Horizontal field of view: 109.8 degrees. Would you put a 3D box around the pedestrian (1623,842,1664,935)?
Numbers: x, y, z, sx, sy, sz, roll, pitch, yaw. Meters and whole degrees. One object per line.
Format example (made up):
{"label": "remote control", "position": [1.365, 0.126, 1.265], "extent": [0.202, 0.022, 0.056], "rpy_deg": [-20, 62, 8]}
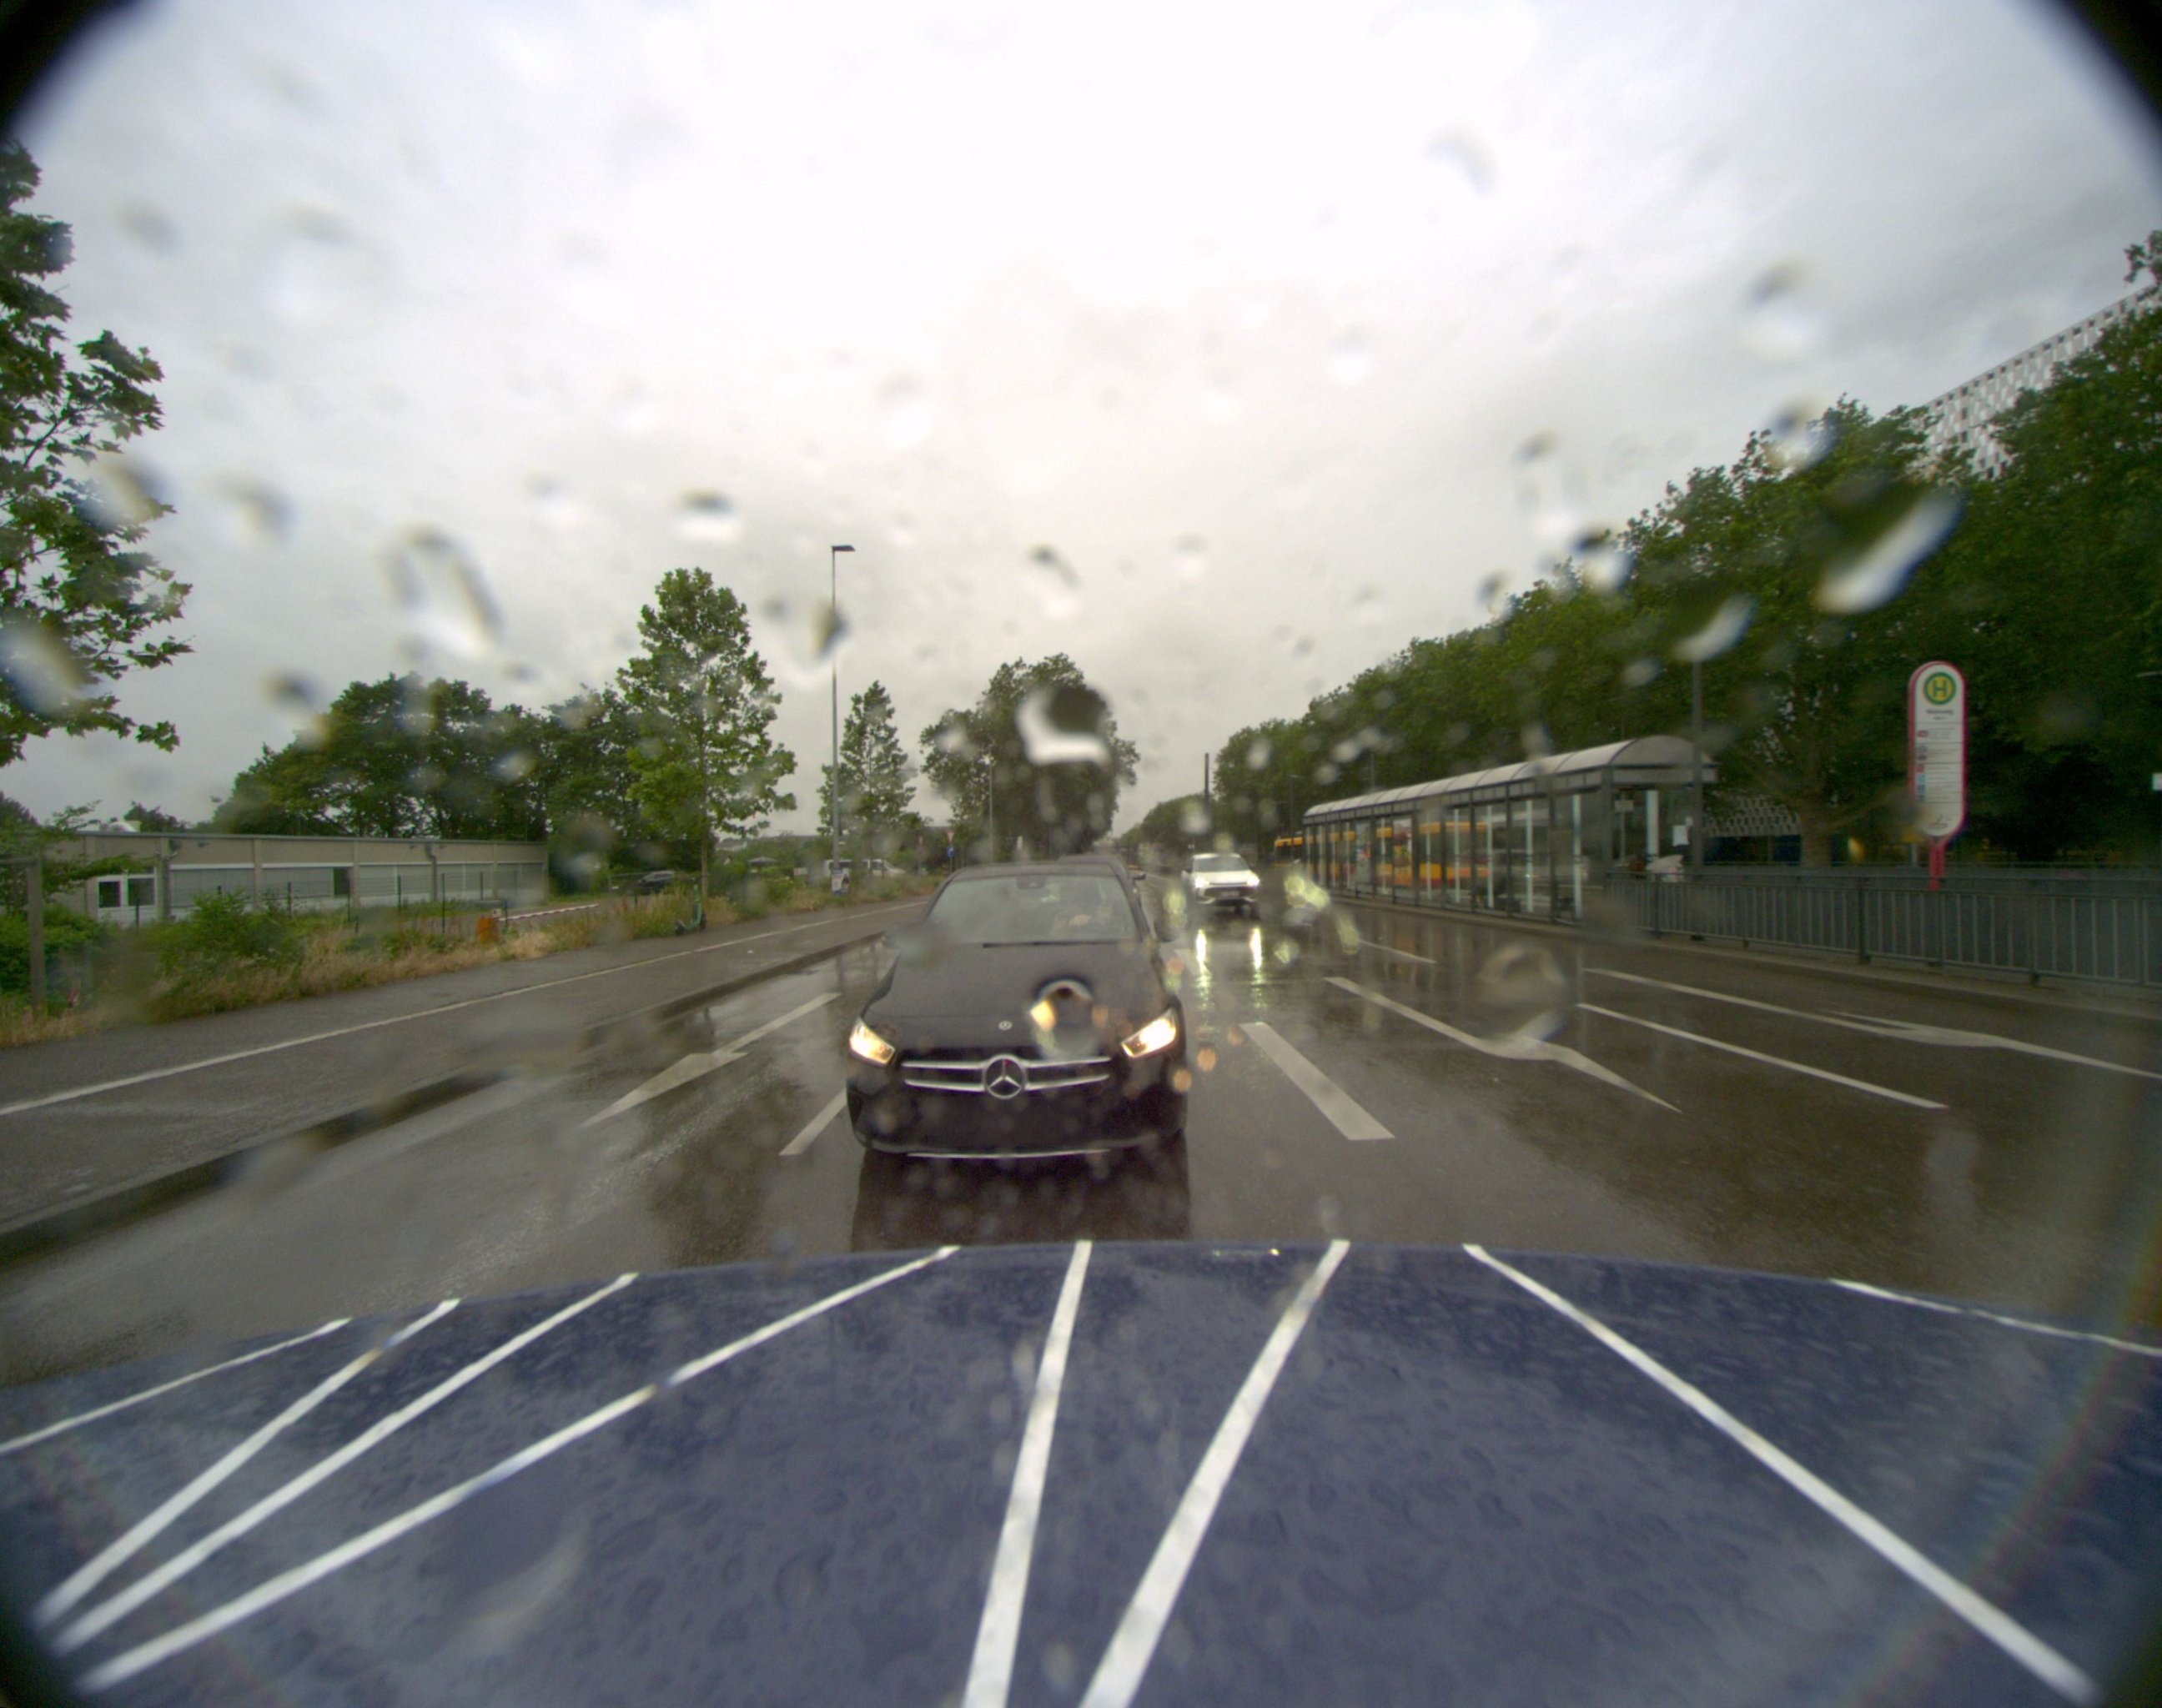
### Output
{"label": "pedestrian", "position": [9.171, 0.556, 12.397], "extent": [0.321, 1.485, 0.415], "rpy_deg": [-3, 2, 6]}

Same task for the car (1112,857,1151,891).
{"label": "car", "position": [2.459, 0.947, 37.567], "extent": [1.557, 1.541, 3.717], "rpy_deg": [-3, 0, 0]}

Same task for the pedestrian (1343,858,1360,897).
{"label": "pedestrian", "position": [8.720, 0.746, 24.524], "extent": [0.458, 1.229, 0.467], "rpy_deg": [-2, 2, 15]}

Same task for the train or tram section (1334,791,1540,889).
{"label": "train or tram section", "position": [16.619, -0.608, 37.347], "extent": [3.751, 3.817, 13.253], "rpy_deg": [-3, 0, 0]}

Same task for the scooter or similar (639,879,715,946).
{"label": "scooter or similar", "position": [-8.188, 1.149, 15.483], "extent": [0.367, 1.192, 1.913], "rpy_deg": [-2, 1, 4]}

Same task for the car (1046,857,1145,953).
{"label": "car", "position": [0.307, 0.889, 15.010], "extent": [1.689, 1.611, 4.000], "rpy_deg": [-1, 0, 2]}

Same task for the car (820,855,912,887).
{"label": "car", "position": [-13.558, 1.038, 48.159], "extent": [5.174, 1.715, 2.006], "rpy_deg": [-3, 1, -1]}

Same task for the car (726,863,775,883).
{"label": "car", "position": [-28.246, 1.631, 65.021], "extent": [3.552, 1.574, 1.345], "rpy_deg": [-3, 1, 6]}

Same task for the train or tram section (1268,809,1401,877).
{"label": "train or tram section", "position": [16.598, -0.706, 51.803], "extent": [3.751, 3.777, 15.570], "rpy_deg": [-3, 0, 0]}

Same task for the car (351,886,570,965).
{"label": "car", "position": [-12.025, 1.369, 14.822], "extent": [3.243, 1.281, 1.345], "rpy_deg": [-3, 1, 6]}

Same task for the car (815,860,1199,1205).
{"label": "car", "position": [-0.170, 0.862, 5.619], "extent": [1.758, 1.572, 4.171], "rpy_deg": [-2, 0, 5]}

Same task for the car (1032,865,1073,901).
{"label": "car", "position": [-1.254, 1.279, 34.581], "extent": [1.557, 1.500, 3.618], "rpy_deg": [-2, 0, 2]}

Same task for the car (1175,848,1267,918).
{"label": "car", "position": [3.961, 0.753, 22.287], "extent": [1.935, 1.765, 4.664], "rpy_deg": [-3, 0, 2]}

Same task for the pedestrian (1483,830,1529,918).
{"label": "pedestrian", "position": [9.255, 0.420, 16.571], "extent": [0.655, 1.860, 0.773], "rpy_deg": [-2, 1, 17]}
